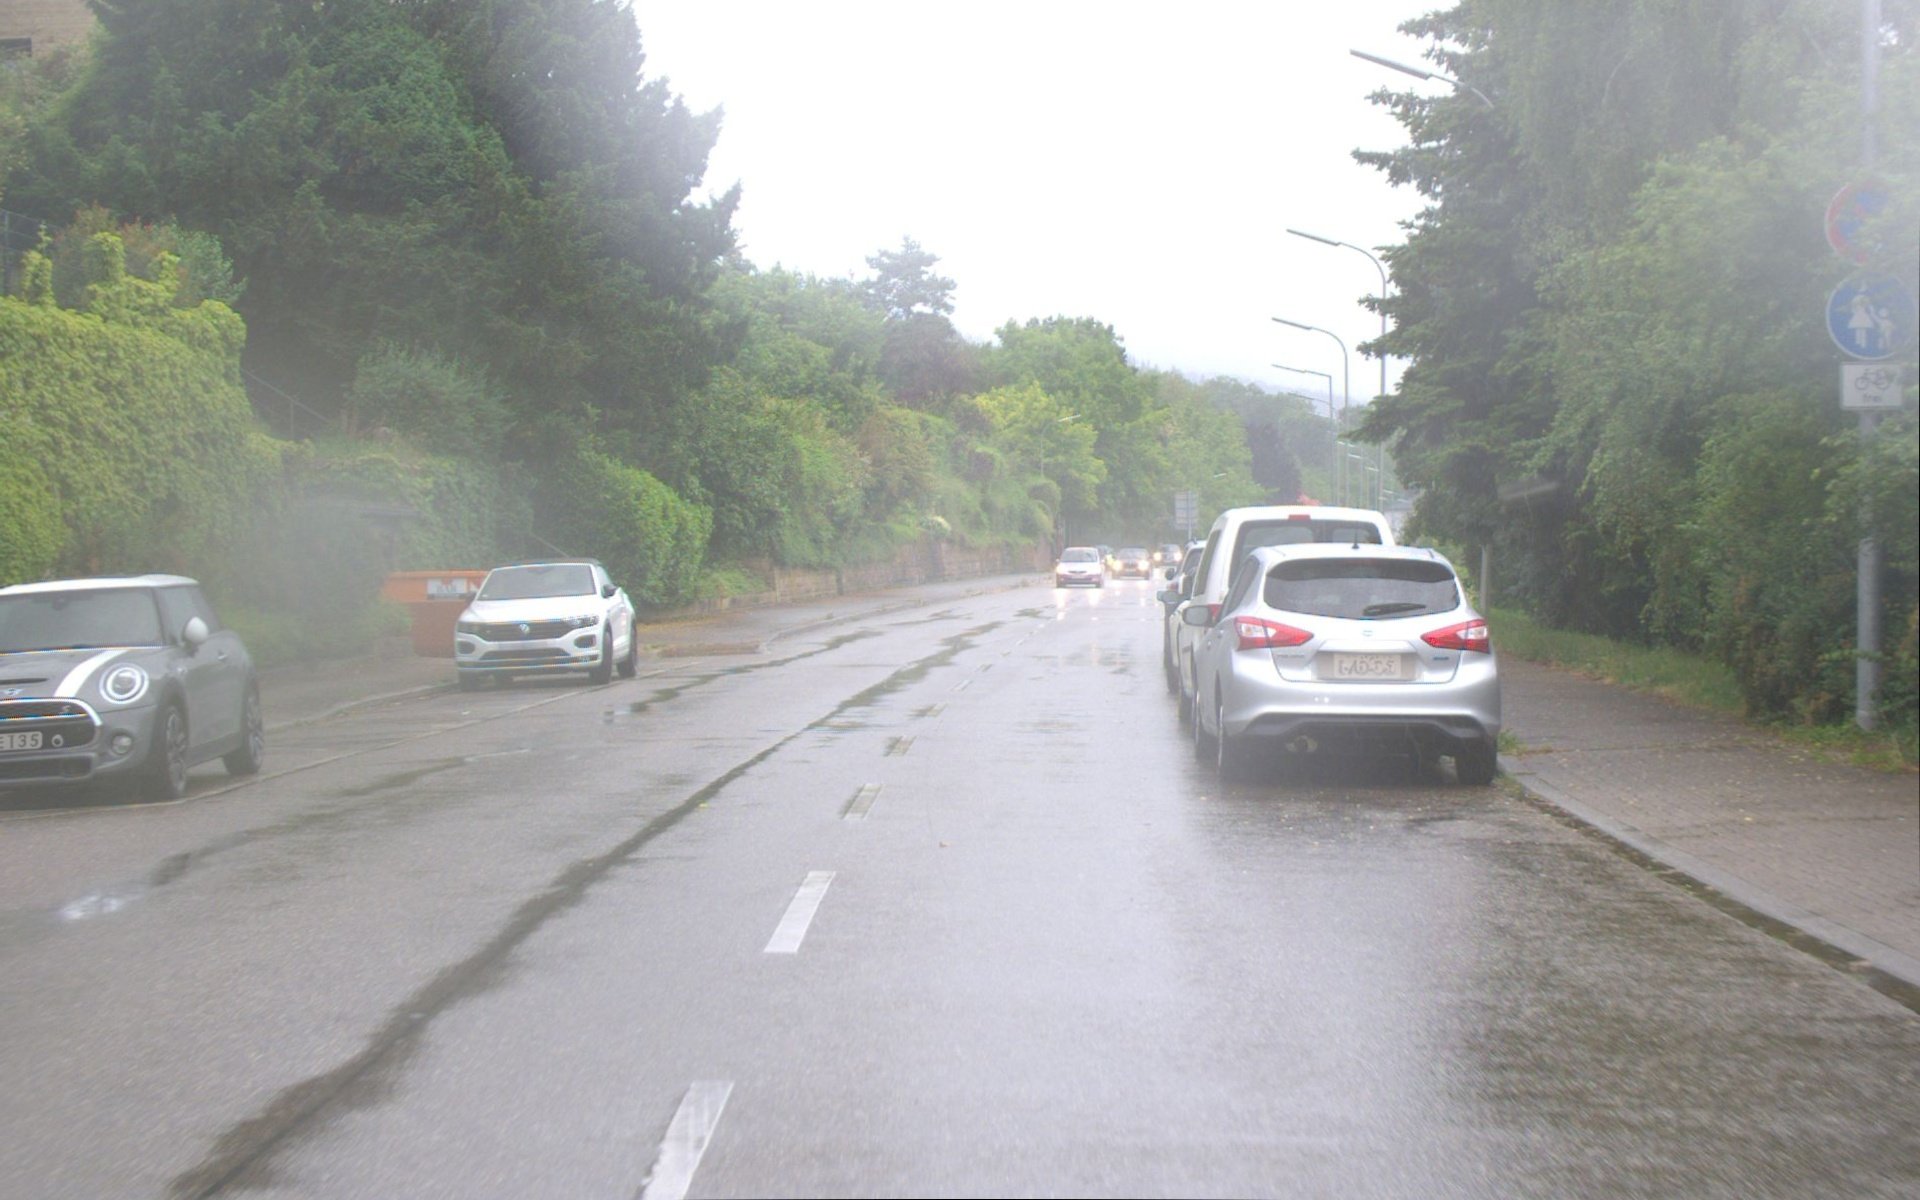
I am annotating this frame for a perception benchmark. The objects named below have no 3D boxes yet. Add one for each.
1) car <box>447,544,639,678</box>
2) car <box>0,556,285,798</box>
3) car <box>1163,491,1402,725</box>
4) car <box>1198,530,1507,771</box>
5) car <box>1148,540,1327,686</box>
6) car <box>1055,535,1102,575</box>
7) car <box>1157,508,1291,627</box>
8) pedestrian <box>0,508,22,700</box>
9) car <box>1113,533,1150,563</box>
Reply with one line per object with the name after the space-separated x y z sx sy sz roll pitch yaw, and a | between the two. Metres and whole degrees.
-4.996 0.108 41.698 1.756 1.492 4.220 -1 1 0 | car
-5.707 0.459 22.590 1.756 1.397 3.770 -3 1 0 | car
2.605 0.037 28.574 1.785 1.784 4.361 0 1 3 | car
2.528 0.282 23.017 1.789 1.455 4.308 0 1 3 | car
2.788 0.105 35.248 1.709 1.398 4.203 0 1 3 | car
4.416 -1.669 128.649 1.662 1.456 3.662 0 1 1 | car
3.760 -0.472 49.581 1.815 1.640 4.395 0 1 3 | car
-9.781 0.033 33.730 0.842 1.874 0.901 1 0 4 | pedestrian
7.835 -2.371 156.677 1.654 1.347 3.987 0 1 3 | car
